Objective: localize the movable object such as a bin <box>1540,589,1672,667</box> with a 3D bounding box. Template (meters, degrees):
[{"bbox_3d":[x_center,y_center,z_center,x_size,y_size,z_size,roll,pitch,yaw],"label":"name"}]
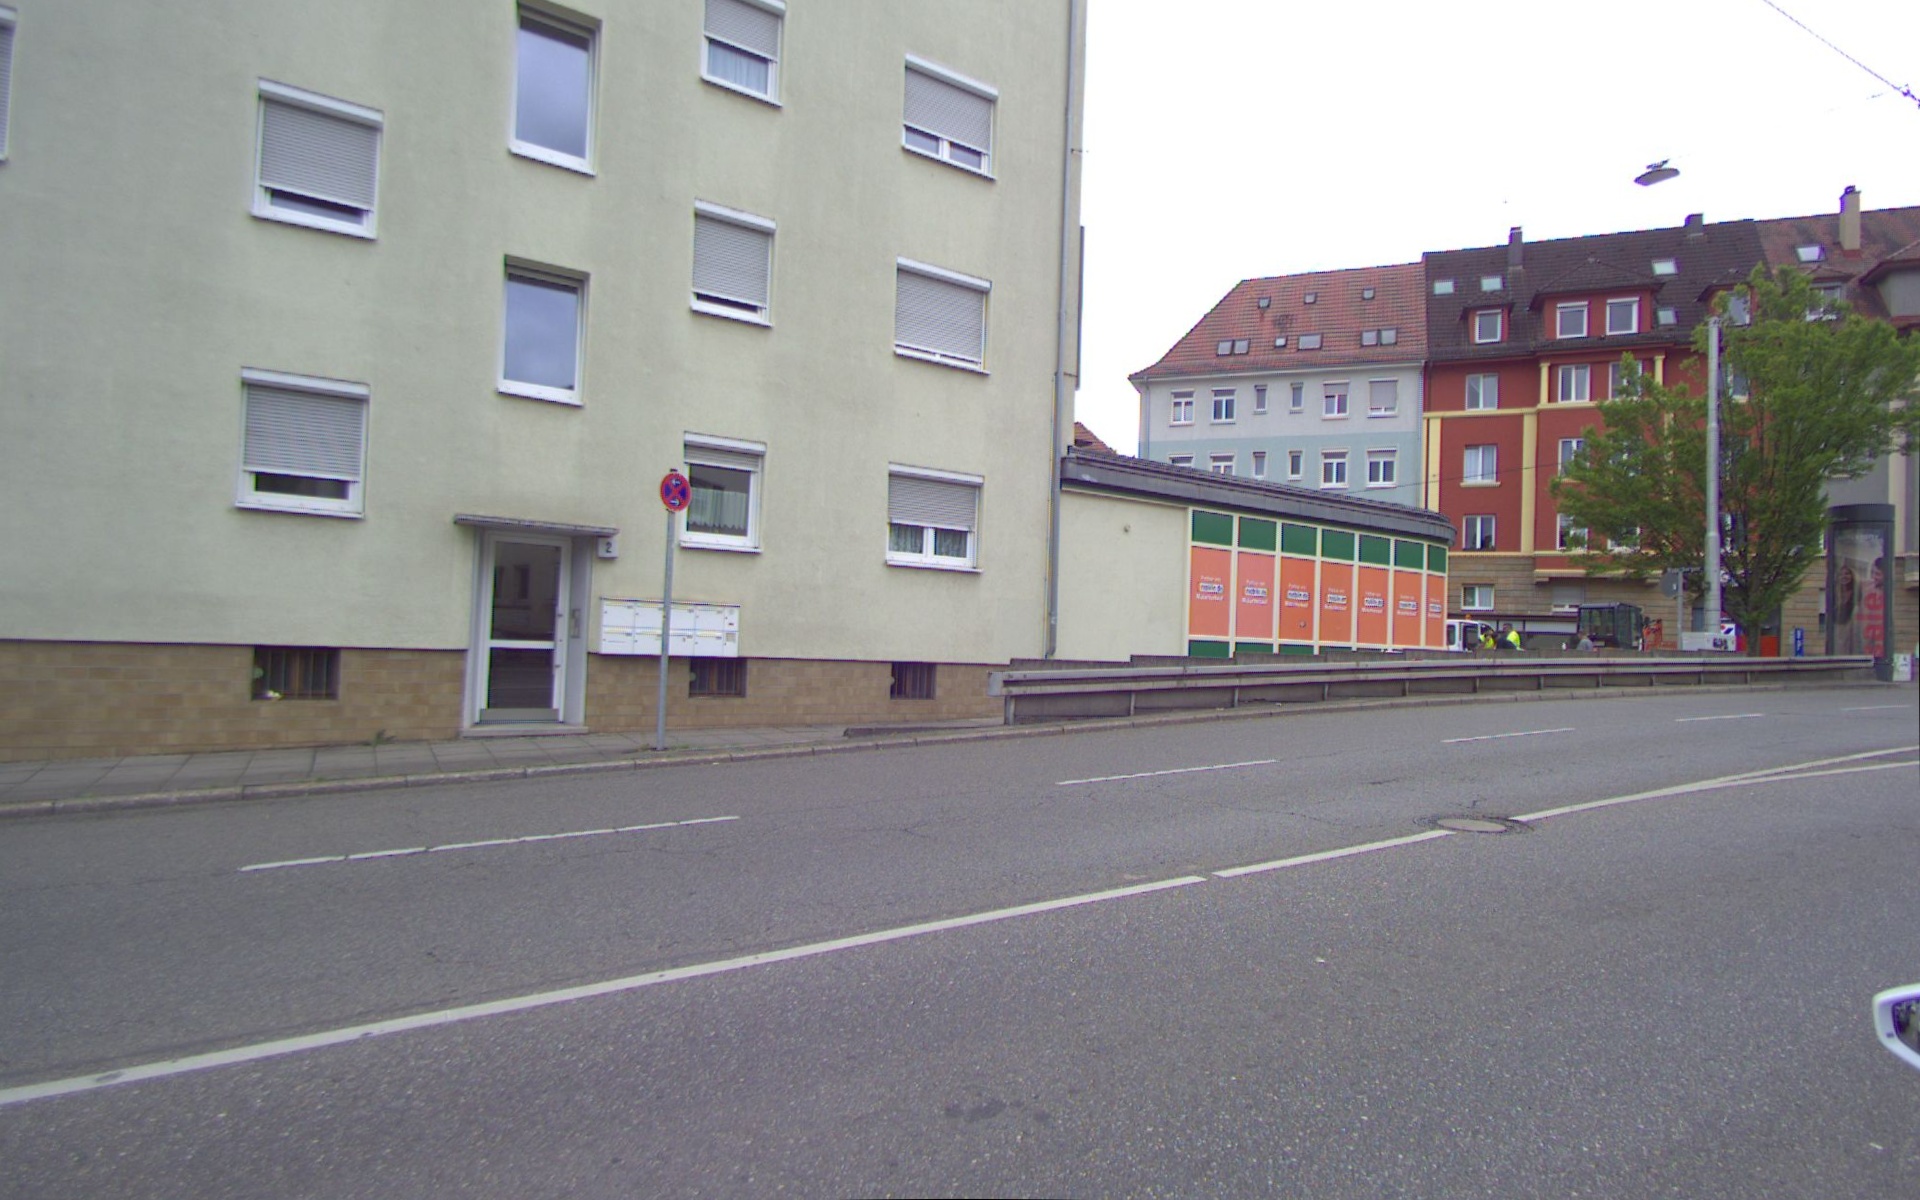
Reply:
[{"bbox_3d":[16.586,0.692,25.721,3.972,1.795,1.884,2,1,-43],"label":"movable object such as a bin"}]

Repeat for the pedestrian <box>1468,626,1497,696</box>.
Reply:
[{"bbox_3d":[13.464,1.559,25.893,0.467,1.753,0.543,2,1,14],"label":"pedestrian"}]

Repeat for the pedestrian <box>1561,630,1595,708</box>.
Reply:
[{"bbox_3d":[14.365,1.583,23.353,0.533,1.753,0.593,3,1,26],"label":"pedestrian"}]

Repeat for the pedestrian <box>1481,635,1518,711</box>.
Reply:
[{"bbox_3d":[12.666,1.703,23.591,0.539,1.722,0.557,1,1,-41],"label":"pedestrian"}]

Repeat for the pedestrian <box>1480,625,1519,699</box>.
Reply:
[{"bbox_3d":[13.341,1.525,24.847,0.605,1.785,0.573,2,1,5],"label":"pedestrian"}]

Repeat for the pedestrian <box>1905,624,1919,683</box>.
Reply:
[{"bbox_3d":[26.182,1.458,27.275,0.480,1.588,0.586,2,1,-30],"label":"pedestrian"}]
